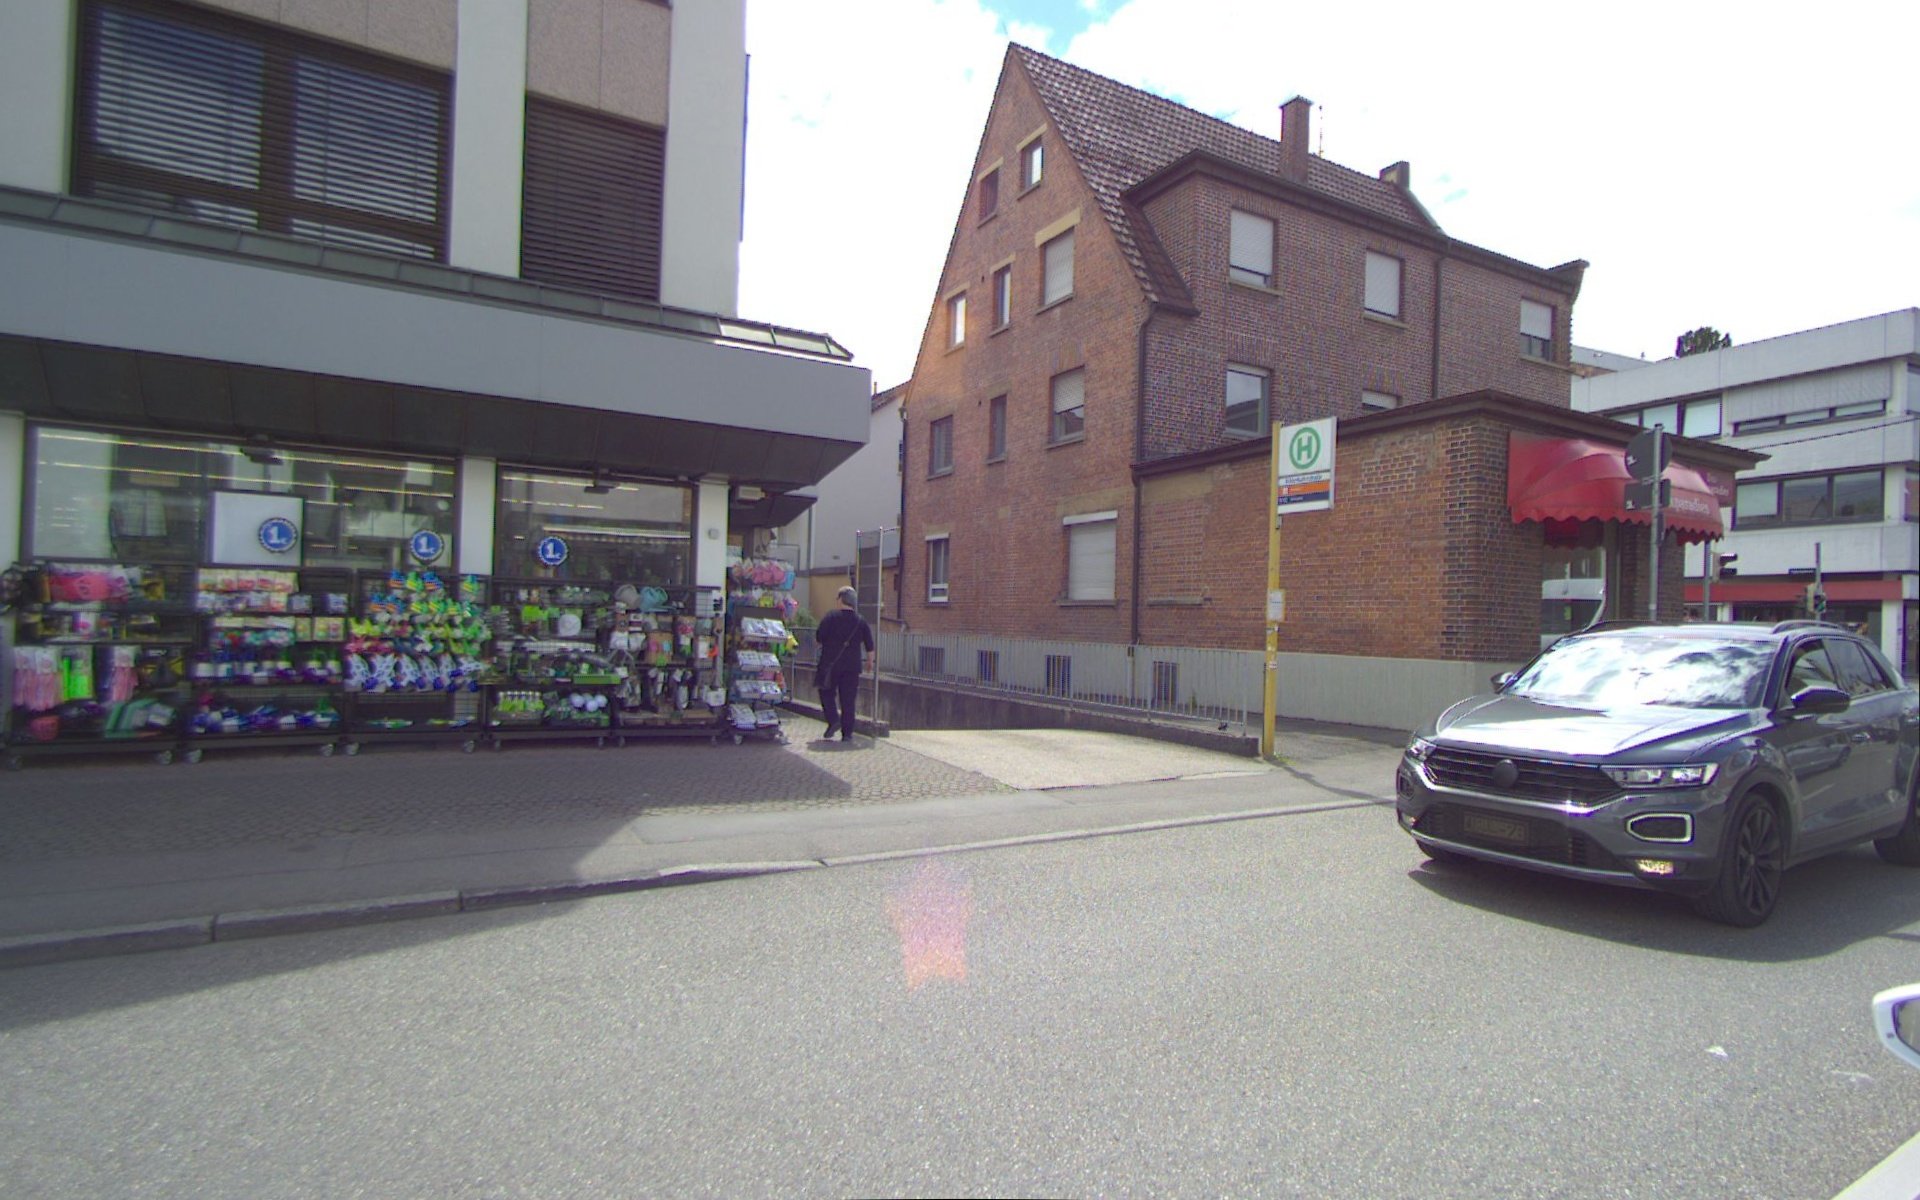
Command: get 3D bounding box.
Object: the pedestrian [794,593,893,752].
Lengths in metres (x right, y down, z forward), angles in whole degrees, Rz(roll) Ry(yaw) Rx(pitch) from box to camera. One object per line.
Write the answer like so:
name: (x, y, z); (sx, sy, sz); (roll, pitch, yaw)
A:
pedestrian: (-1.224, 0.750, 10.612); (0.757, 1.578, 0.574); (3, -1, 20)

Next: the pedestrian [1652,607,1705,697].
pedestrian: (14.998, 1.087, 20.965); (0.712, 1.820, 0.622); (4, -1, -32)

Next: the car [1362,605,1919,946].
car: (4.489, 0.867, 6.336); (3.804, 1.531, 1.780); (2, -2, -33)
